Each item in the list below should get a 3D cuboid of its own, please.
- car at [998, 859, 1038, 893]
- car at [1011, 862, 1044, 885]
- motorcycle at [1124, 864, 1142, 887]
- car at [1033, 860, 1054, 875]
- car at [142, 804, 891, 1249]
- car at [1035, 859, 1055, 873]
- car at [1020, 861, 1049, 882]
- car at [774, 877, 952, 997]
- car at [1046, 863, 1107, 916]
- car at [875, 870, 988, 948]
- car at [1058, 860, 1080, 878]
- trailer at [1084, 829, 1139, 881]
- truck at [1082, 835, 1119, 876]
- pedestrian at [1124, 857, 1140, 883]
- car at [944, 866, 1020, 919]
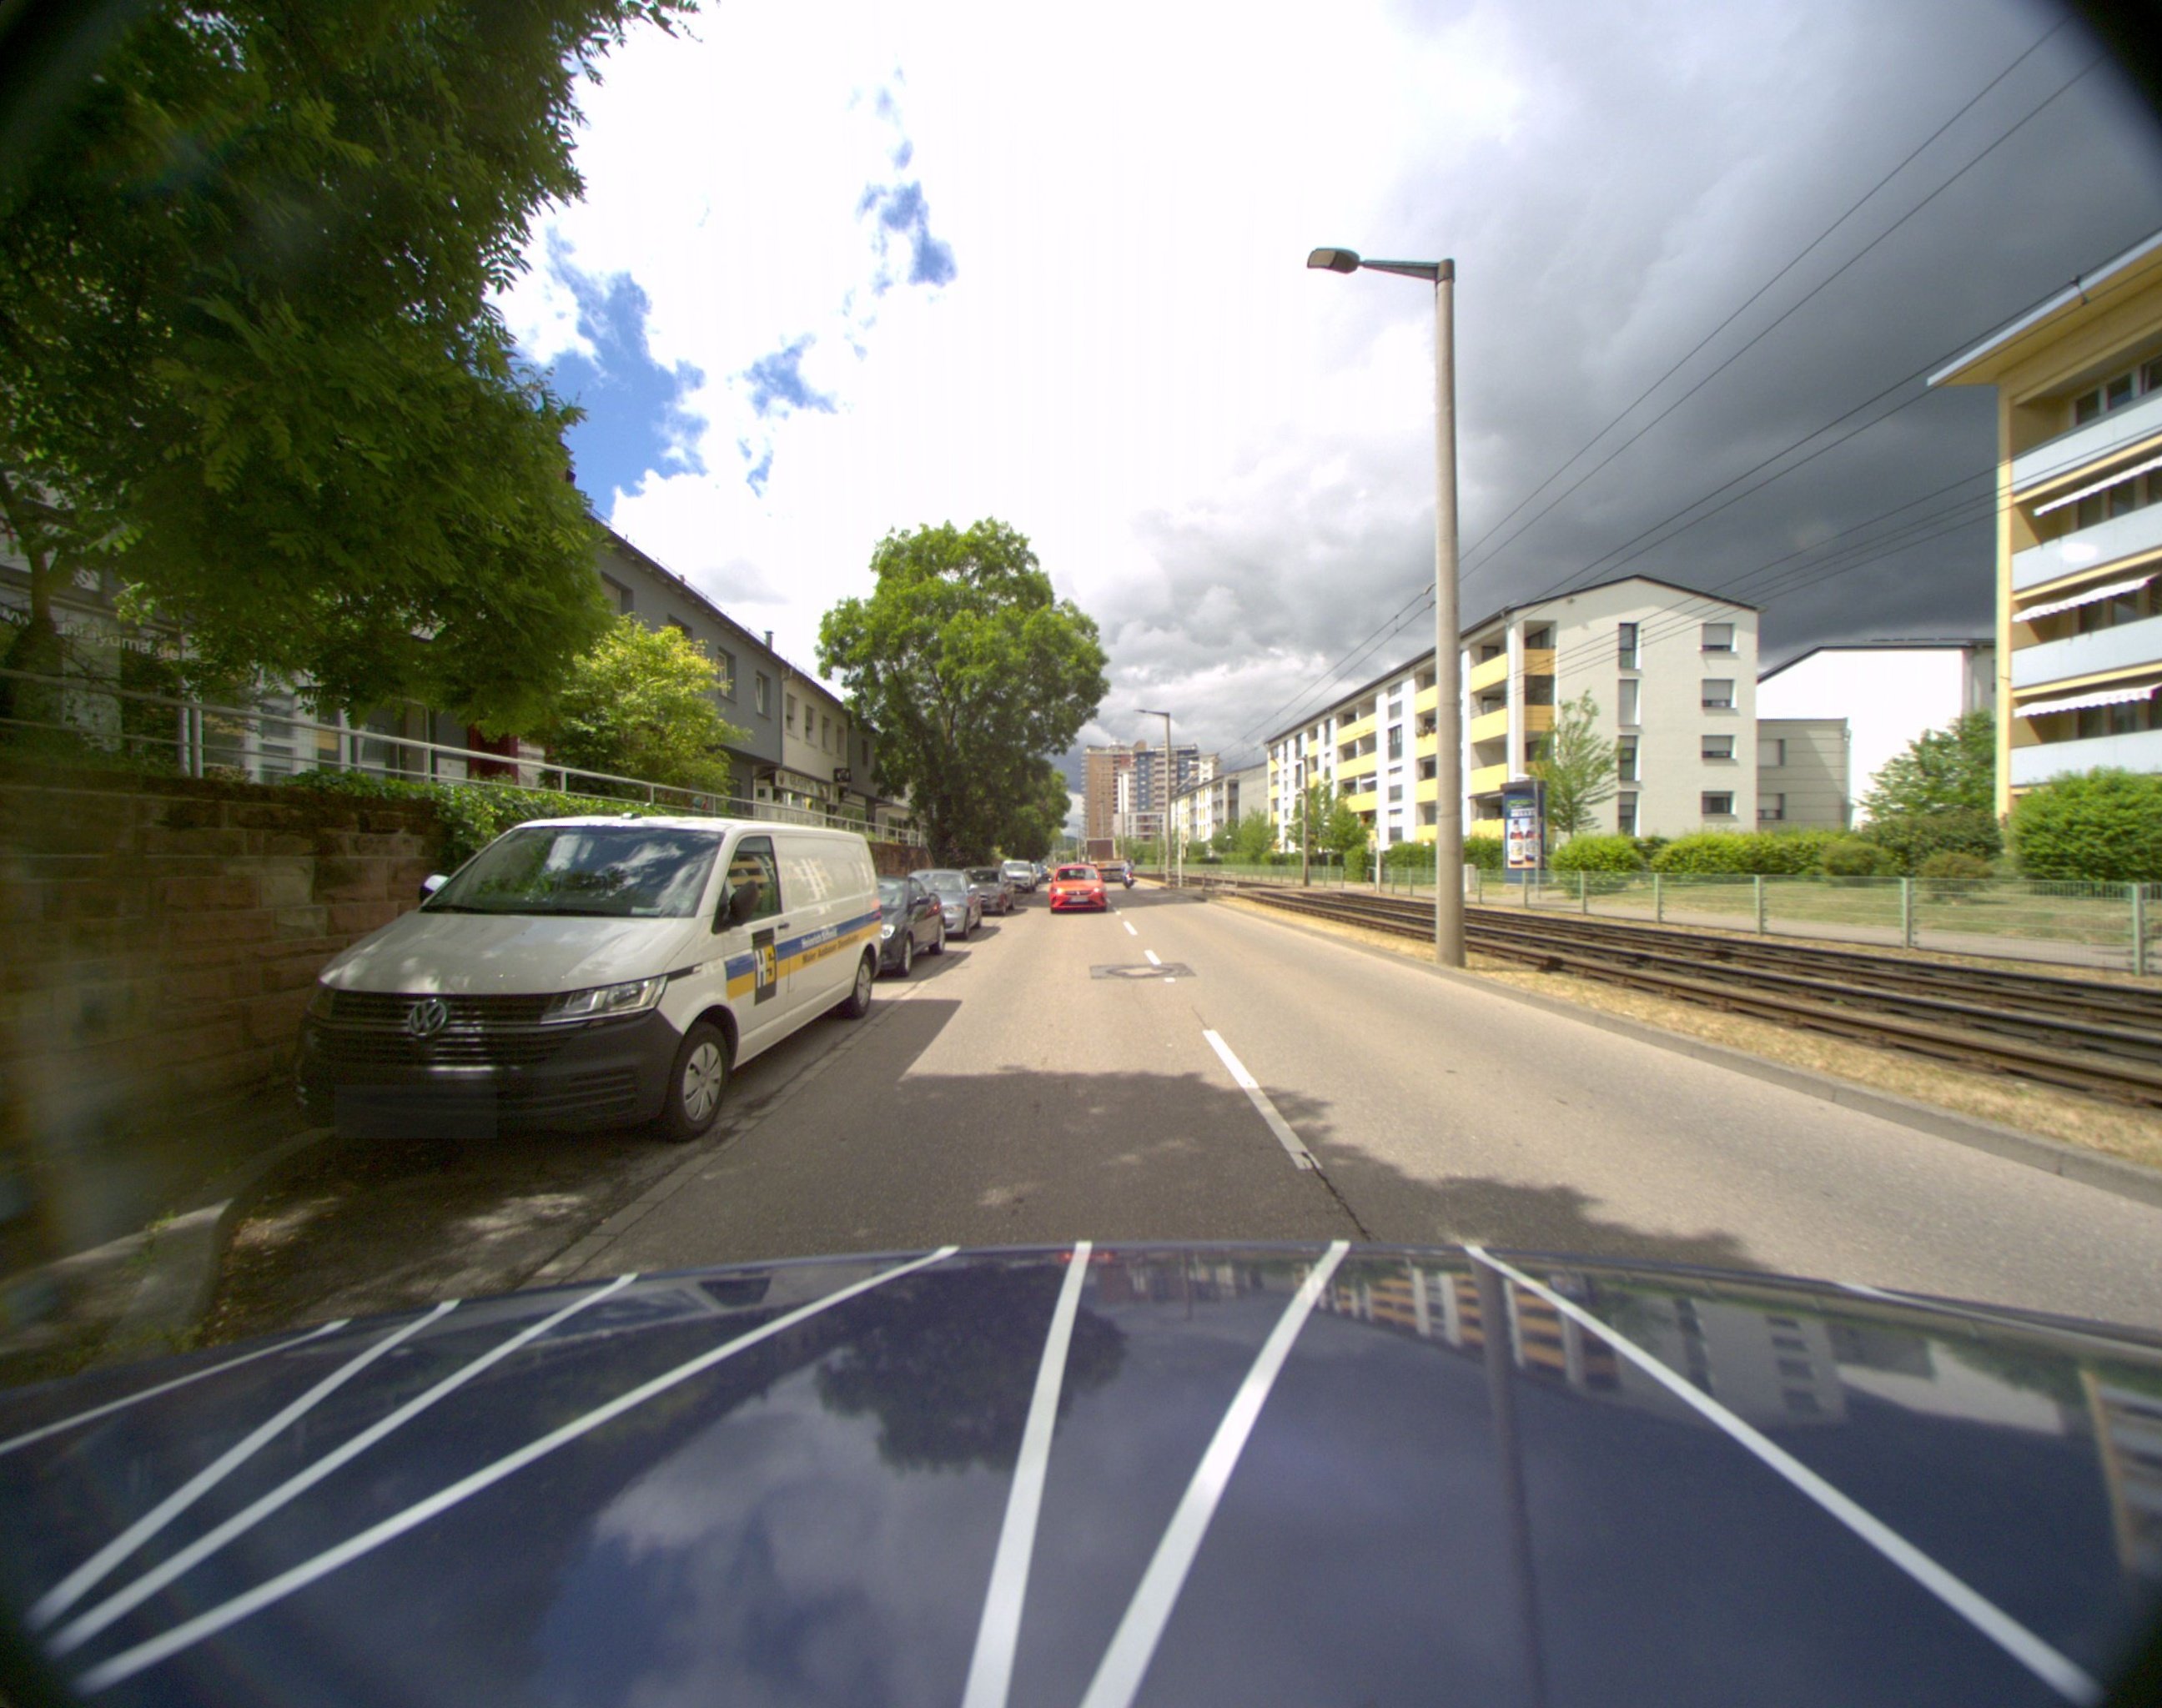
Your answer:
[{"bbox_3d":[-3.206,1.086,39.194,1.819,1.643,4.146,-1,0,-2],"label":"car"},{"bbox_3d":[-3.433,1.256,49.762,1.784,1.420,4.147,-1,0,1],"label":"car"},{"bbox_3d":[2.789,1.163,41.184,0.783,1.181,1.869,-2,0,-1],"label":"motorcycle"},{"bbox_3d":[-3.570,1.275,72.931,1.784,1.420,4.147,-1,0,1],"label":"car"},{"bbox_3d":[-3.141,0.783,5.890,1.978,1.958,5.013,-1,0,1],"label":"car"},{"bbox_3d":[-3.760,1.262,80.296,1.784,1.420,4.147,-1,0,1],"label":"car"},{"bbox_3d":[-3.417,1.270,56.097,1.784,1.420,4.147,-1,0,1],"label":"car"},{"bbox_3d":[-3.125,1.121,11.640,1.578,1.420,3.735,-1,0,1],"label":"car"},{"bbox_3d":[-0.064,1.072,24.137,1.723,1.434,4.000,-2,0,2],"label":"car"},{"bbox_3d":[-3.175,1.115,16.911,1.785,1.420,4.144,2,0,-2],"label":"car"},{"bbox_3d":[-1.156,1.401,71.333,1.927,1.543,3.999,-3,0,-2],"label":"car"},{"bbox_3d":[2.114,0.081,59.557,2.876,3.428,14.612,-3,0,-3],"label":"trailer"},{"bbox_3d":[1.693,0.124,67.925,2.852,3.428,4.414,-3,0,-3],"label":"truck"},{"bbox_3d":[2.770,0.861,41.154,0.737,1.408,0.927,-3,0,-1],"label":"pedestrian"},{"bbox_3d":[-3.013,1.139,23.892,1.784,1.420,4.147,-1,0,1],"label":"car"}]
